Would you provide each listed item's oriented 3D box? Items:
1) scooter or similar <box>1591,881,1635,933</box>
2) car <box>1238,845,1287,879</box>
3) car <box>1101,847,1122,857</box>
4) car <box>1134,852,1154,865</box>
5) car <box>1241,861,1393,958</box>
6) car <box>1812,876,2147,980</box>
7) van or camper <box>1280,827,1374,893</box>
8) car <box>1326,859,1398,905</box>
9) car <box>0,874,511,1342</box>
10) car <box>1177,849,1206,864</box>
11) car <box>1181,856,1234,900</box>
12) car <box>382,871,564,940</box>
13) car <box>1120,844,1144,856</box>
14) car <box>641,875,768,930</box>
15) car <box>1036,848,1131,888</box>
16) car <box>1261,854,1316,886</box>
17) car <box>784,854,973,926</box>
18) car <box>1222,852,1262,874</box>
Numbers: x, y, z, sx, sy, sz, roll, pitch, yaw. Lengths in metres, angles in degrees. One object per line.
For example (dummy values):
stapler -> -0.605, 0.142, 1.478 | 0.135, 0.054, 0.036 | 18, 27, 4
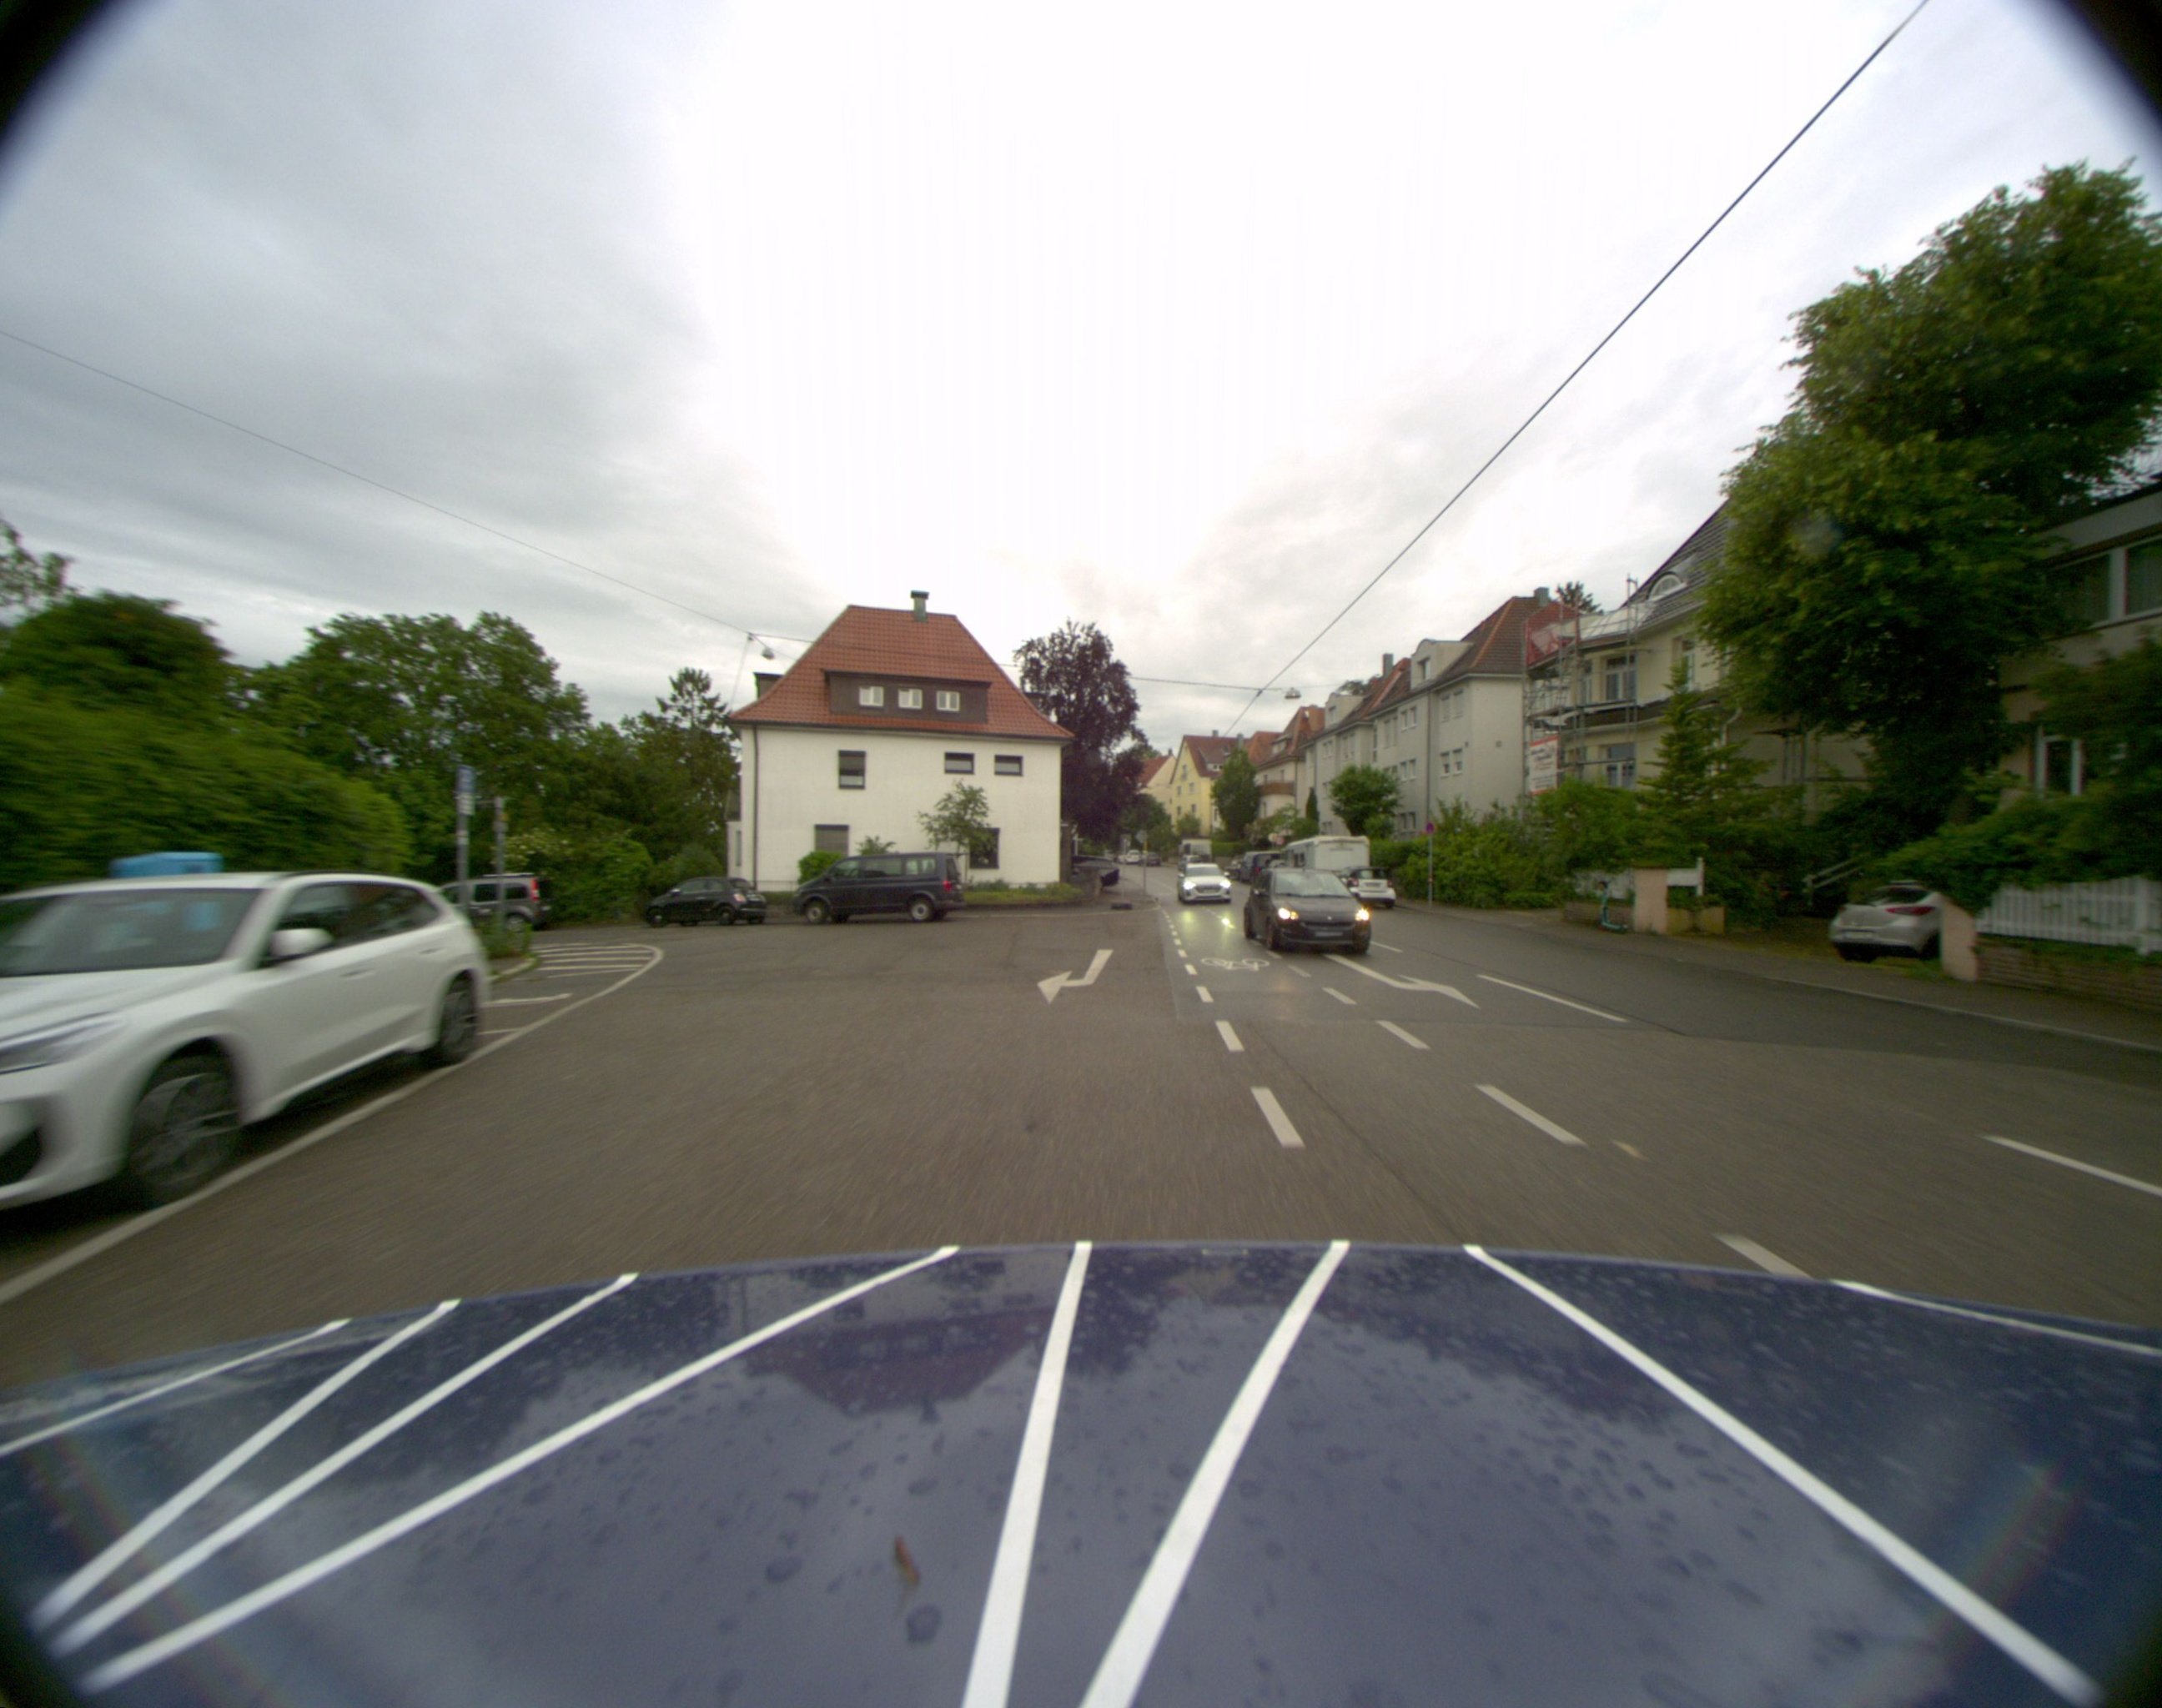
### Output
scooter or similar -> 12.894, 1.262, 18.431 | 0.402, 1.181, 1.141 | -1, 1, 9
car -> 11.307, 0.433, 47.670 | 1.836, 1.976, 4.580 | -1, 1, -1
car -> 4.124, -0.270, 104.333 | 1.681, 1.364, 4.431 | -1, 1, -14
car -> 7.110, 0.520, 85.727 | 1.680, 1.364, 3.438 | -1, 1, -6
car -> 4.168, 0.913, 14.038 | 1.898, 1.455, 3.682 | -1, 1, 4
car -> 15.319, 1.220, 13.139 | 3.588, 1.531, 1.711 | 2, -2, 5
van or camper -> 10.877, 0.209, 34.123 | 2.353, 2.709, 6.116 | 0, 1, 1
car -> 10.573, 1.005, 28.812 | 1.598, 1.585, 3.317 | 0, 1, 2
car -> -5.540, 1.021, 4.689 | 1.751, 1.663, 4.640 | -2, 0, -18
car -> 10.312, 0.198, 70.996 | 1.681, 1.364, 3.437 | -1, 1, -10
car -> 5.279, 0.962, 32.220 | 1.795, 1.689, 3.891 | -1, 1, 3
car -> -18.728, 1.539, 23.631 | 4.003, 1.849, 1.769 | -1, 1, -18
car -> 6.293, -0.515, 94.191 | 1.682, 1.364, 4.431 | 2, 0, -14
car -> -11.205, 1.455, 22.650 | 3.263, 1.431, 1.325 | -4, -4, 12
car -> 0.174, 0.717, 39.751 | 4.741, 1.799, 1.942 | 3, 1, 2
car -> 11.164, 0.813, 41.138 | 1.836, 1.585, 4.746 | 0, 1, 2
car -> -5.792, 0.993, 22.075 | 4.917, 1.936, 1.941 | 0, 1, 4
car -> 11.318, 0.615, 53.637 | 1.680, 1.364, 4.508 | -1, 1, -3
